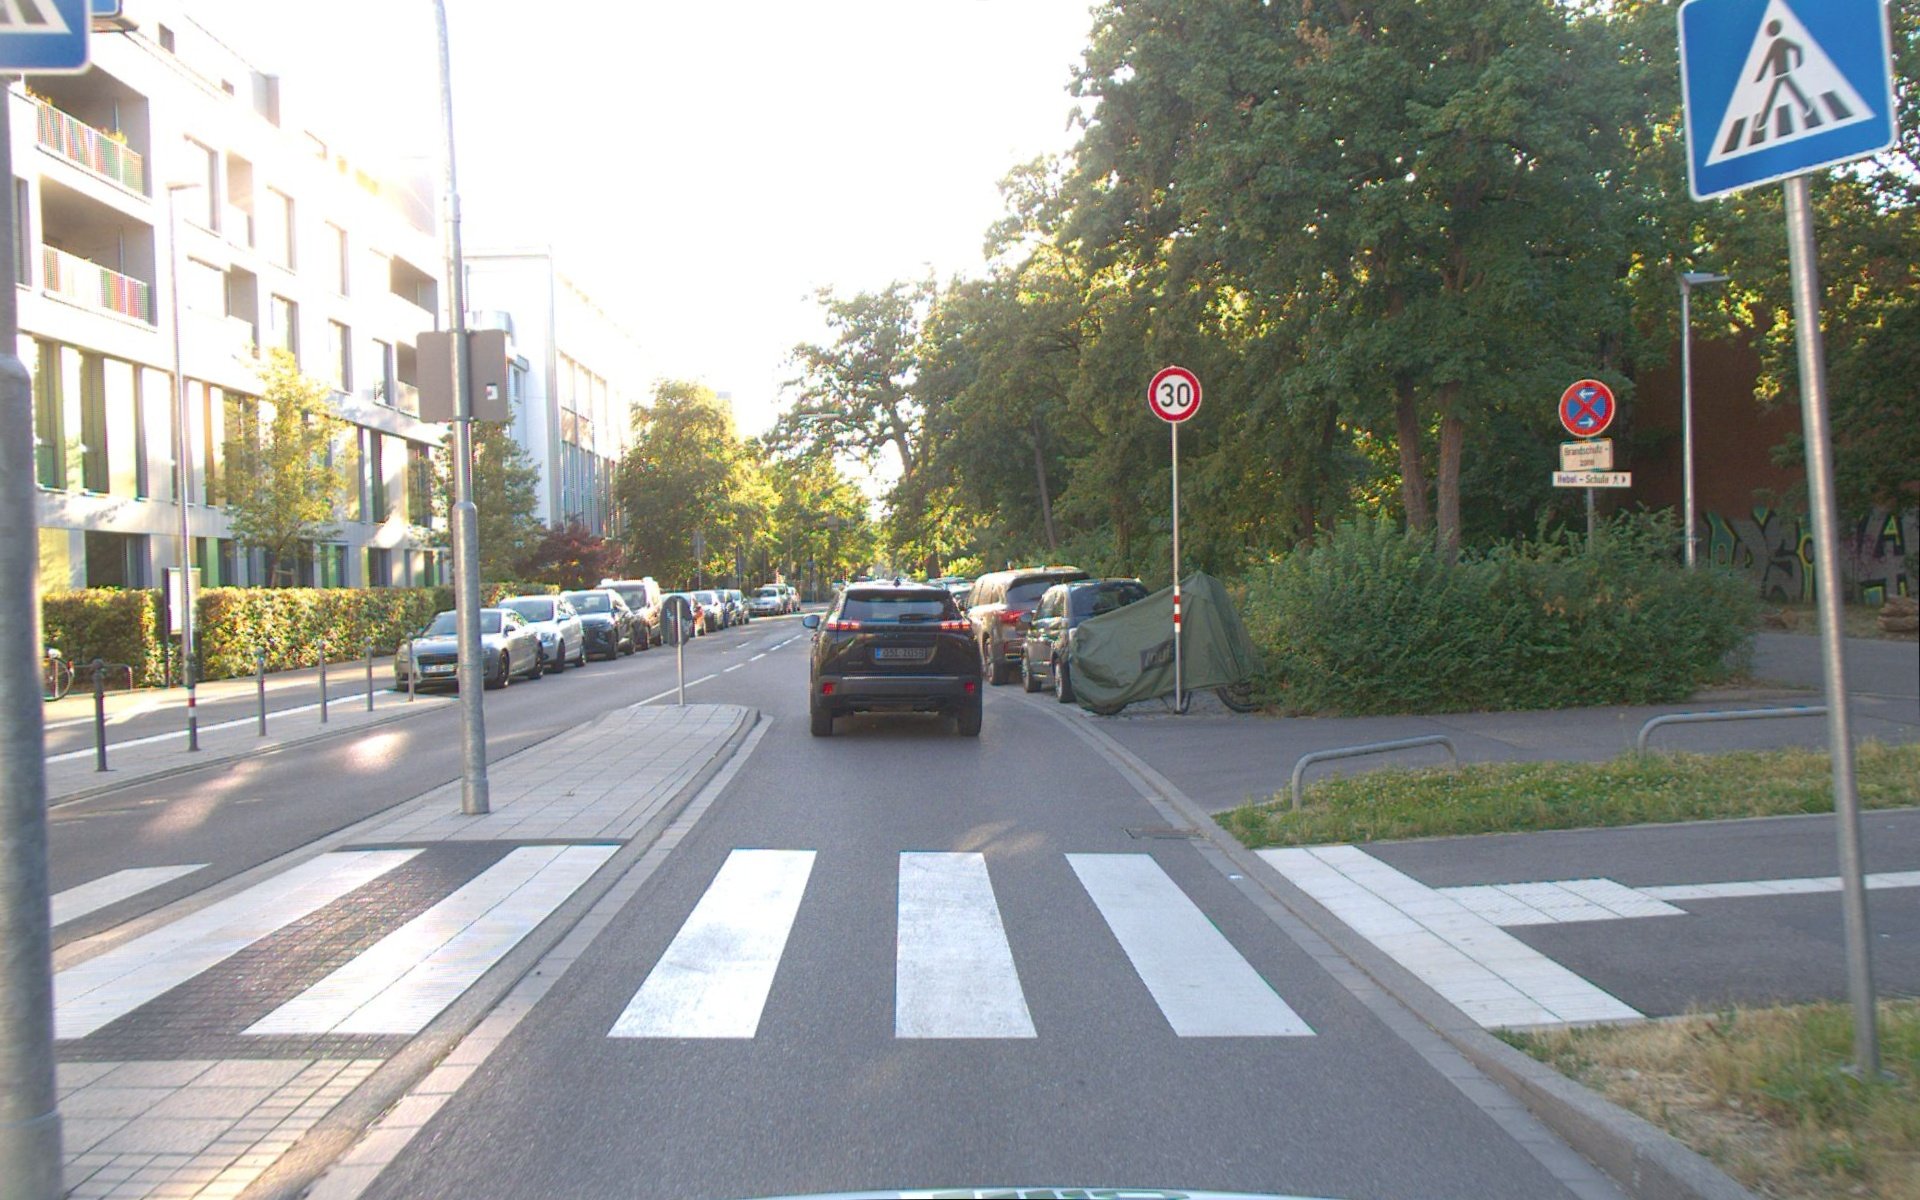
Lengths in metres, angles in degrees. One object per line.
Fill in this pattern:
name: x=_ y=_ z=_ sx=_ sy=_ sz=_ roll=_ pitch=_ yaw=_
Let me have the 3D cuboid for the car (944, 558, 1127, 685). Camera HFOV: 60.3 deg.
car: x=1.106 y=0.291 z=26.751 sx=1.887 sy=1.779 sz=4.654 roll=-3 pitch=1 yaw=-11

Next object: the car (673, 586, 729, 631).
car: x=-9.630 y=0.290 z=61.736 sx=1.567 sy=1.480 sz=4.053 roll=-3 pitch=1 yaw=-3

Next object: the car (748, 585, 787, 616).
car: x=-10.278 y=-0.004 z=88.696 sx=1.637 sy=1.520 sz=4.060 roll=-2 pitch=1 yaw=-1

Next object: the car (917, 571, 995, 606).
car: x=-0.244 y=-0.631 z=88.190 sx=4.039 sy=1.696 sz=1.722 roll=-2 pitch=1 yaw=-2

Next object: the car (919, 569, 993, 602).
car: x=-0.208 y=-0.817 z=92.929 sx=4.083 sy=1.740 sz=1.868 roll=-1 pitch=1 yaw=2

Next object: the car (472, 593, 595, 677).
car: x=-8.915 y=0.682 z=34.898 sx=1.708 sy=1.560 sz=4.113 roll=-3 pitch=1 yaw=-4

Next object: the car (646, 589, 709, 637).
car: x=-9.474 y=0.405 z=55.705 sx=1.567 sy=1.480 sz=3.860 roll=-2 pitch=1 yaw=-3

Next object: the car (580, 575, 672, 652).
car: x=-9.214 y=0.321 z=45.879 sx=1.771 sy=1.922 sz=4.236 roll=-3 pitch=1 yaw=-3

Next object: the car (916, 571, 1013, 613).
car: x=0.191 y=-0.362 z=74.894 sx=4.251 sy=1.500 sz=1.742 roll=-5 pitch=2 yaw=-1

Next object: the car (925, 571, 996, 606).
car: x=0.025 y=-0.587 z=85.719 sx=3.517 sy=1.593 sz=1.817 roll=-4 pitch=0 yaw=-3

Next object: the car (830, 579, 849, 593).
car: x=-12.946 y=-1.479 z=177.581 sx=1.776 sy=1.377 sz=3.994 roll=-3 pitch=1 yaw=-7

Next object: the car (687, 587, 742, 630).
car: x=-9.845 y=0.317 z=66.475 sx=1.566 sy=1.533 sz=3.787 roll=-3 pitch=1 yaw=0

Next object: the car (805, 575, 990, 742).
car: x=-0.757 y=0.543 z=17.687 sx=1.734 sy=1.596 sz=3.376 roll=0 pitch=1 yaw=-7

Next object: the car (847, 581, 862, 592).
car: x=-13.894 y=-1.830 z=217.647 sx=1.775 sy=1.377 sz=3.975 roll=-3 pitch=1 yaw=-5

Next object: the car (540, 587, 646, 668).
car: x=-8.904 y=0.618 z=40.474 sx=1.707 sy=1.705 sz=4.414 roll=-3 pitch=1 yaw=-3

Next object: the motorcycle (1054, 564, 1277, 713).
motorcycle: x=2.315 y=0.434 z=18.597 sx=2.245 sy=1.571 sz=1.039 roll=-2 pitch=1 yaw=23

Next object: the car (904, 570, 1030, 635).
car: x=0.176 y=0.064 z=48.986 sx=3.540 sy=1.551 sz=1.670 roll=-5 pitch=1 yaw=-4

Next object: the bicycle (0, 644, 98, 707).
bicycle: x=-14.544 y=1.184 z=25.921 sx=1.716 sy=0.934 sz=0.617 roll=-1 pitch=0 yaw=-4

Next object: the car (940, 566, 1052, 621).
car: x=1.204 y=-0.223 z=56.745 sx=3.651 sy=1.524 sz=1.819 roll=-5 pitch=0 yaw=-2

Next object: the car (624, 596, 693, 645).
car: x=-9.286 y=0.608 z=51.153 sx=1.525 sy=1.302 sz=3.731 roll=-3 pitch=1 yaw=-3

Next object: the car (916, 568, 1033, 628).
car: x=0.443 y=-0.089 z=54.056 sx=3.595 sy=1.579 sz=1.734 roll=-5 pitch=1 yaw=-4

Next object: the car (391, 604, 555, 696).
car: x=-8.679 y=0.843 z=29.843 sx=1.707 sy=1.380 sz=4.395 roll=-3 pitch=1 yaw=-2

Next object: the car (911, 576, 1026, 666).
car: x=0.097 y=0.365 z=32.853 sx=1.620 sy=1.595 sz=4.293 roll=-3 pitch=1 yaw=-8

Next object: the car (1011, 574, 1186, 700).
car: x=1.802 y=0.444 z=22.530 sx=1.590 sy=1.512 sz=3.412 roll=-3 pitch=1 yaw=-9
